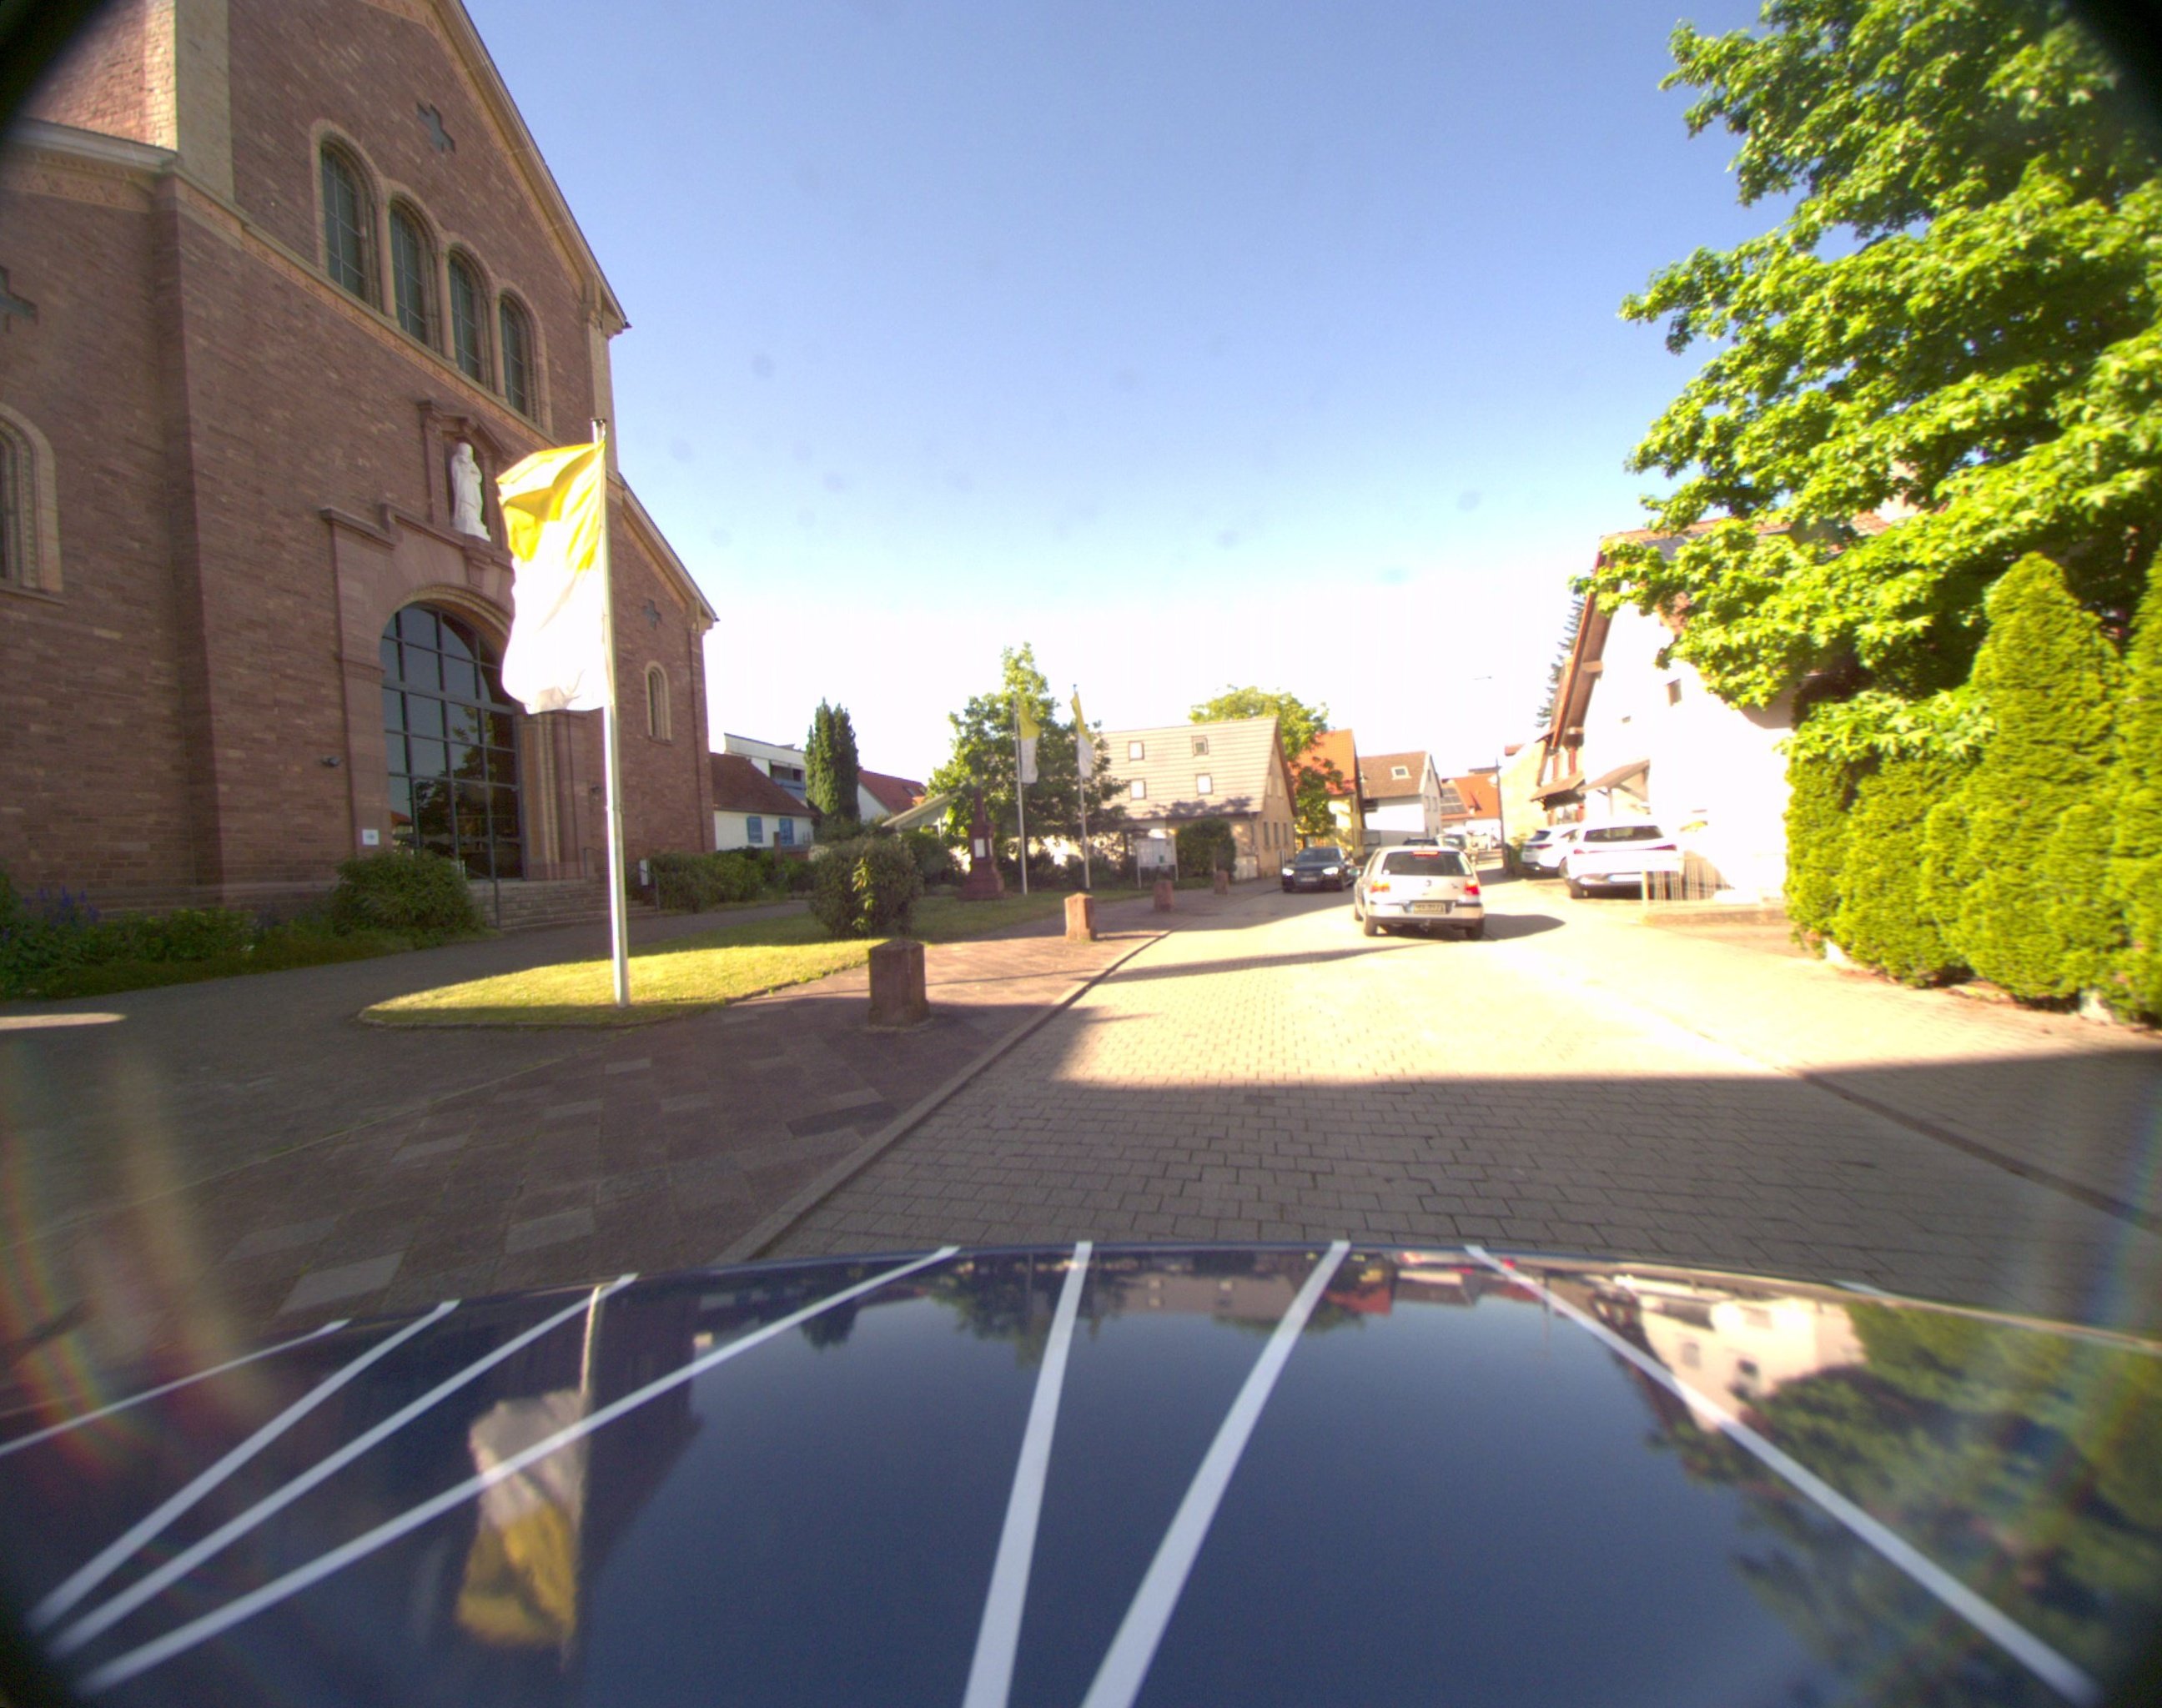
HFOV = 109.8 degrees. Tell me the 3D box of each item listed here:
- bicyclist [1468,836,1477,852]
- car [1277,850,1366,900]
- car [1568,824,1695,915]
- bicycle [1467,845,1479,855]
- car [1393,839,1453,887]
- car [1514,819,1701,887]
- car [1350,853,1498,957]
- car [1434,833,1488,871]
[{"bbox_3d":[32.776,-0.811,63.589,0.581,1.313,0.609,-1,1,38],"label":"bicyclist"},{"bbox_3d":[7.853,0.634,24.517,1.804,1.469,4.352,-2,0,30],"label":"car"},{"bbox_3d":[11.444,0.252,16.071,1.818,1.586,4.453,-5,0,32],"label":"car"},{"bbox_3d":[32.815,-0.322,63.584,0.581,0.757,1.803,-1,1,38],"label":"bicycle"},{"bbox_3d":[13.860,0.320,30.658,1.834,1.661,4.360,-3,0,29],"label":"car"},{"bbox_3d":[15.368,0.001,22.450,3.993,1.579,2.002,-5,-1,14],"label":"car"},{"bbox_3d":[5.553,0.726,12.772,1.673,1.394,3.896,0,1,15],"label":"car"},{"bbox_3d":[20.053,-0.118,40.020,1.834,1.779,4.361,-4,-1,35],"label":"car"}]
